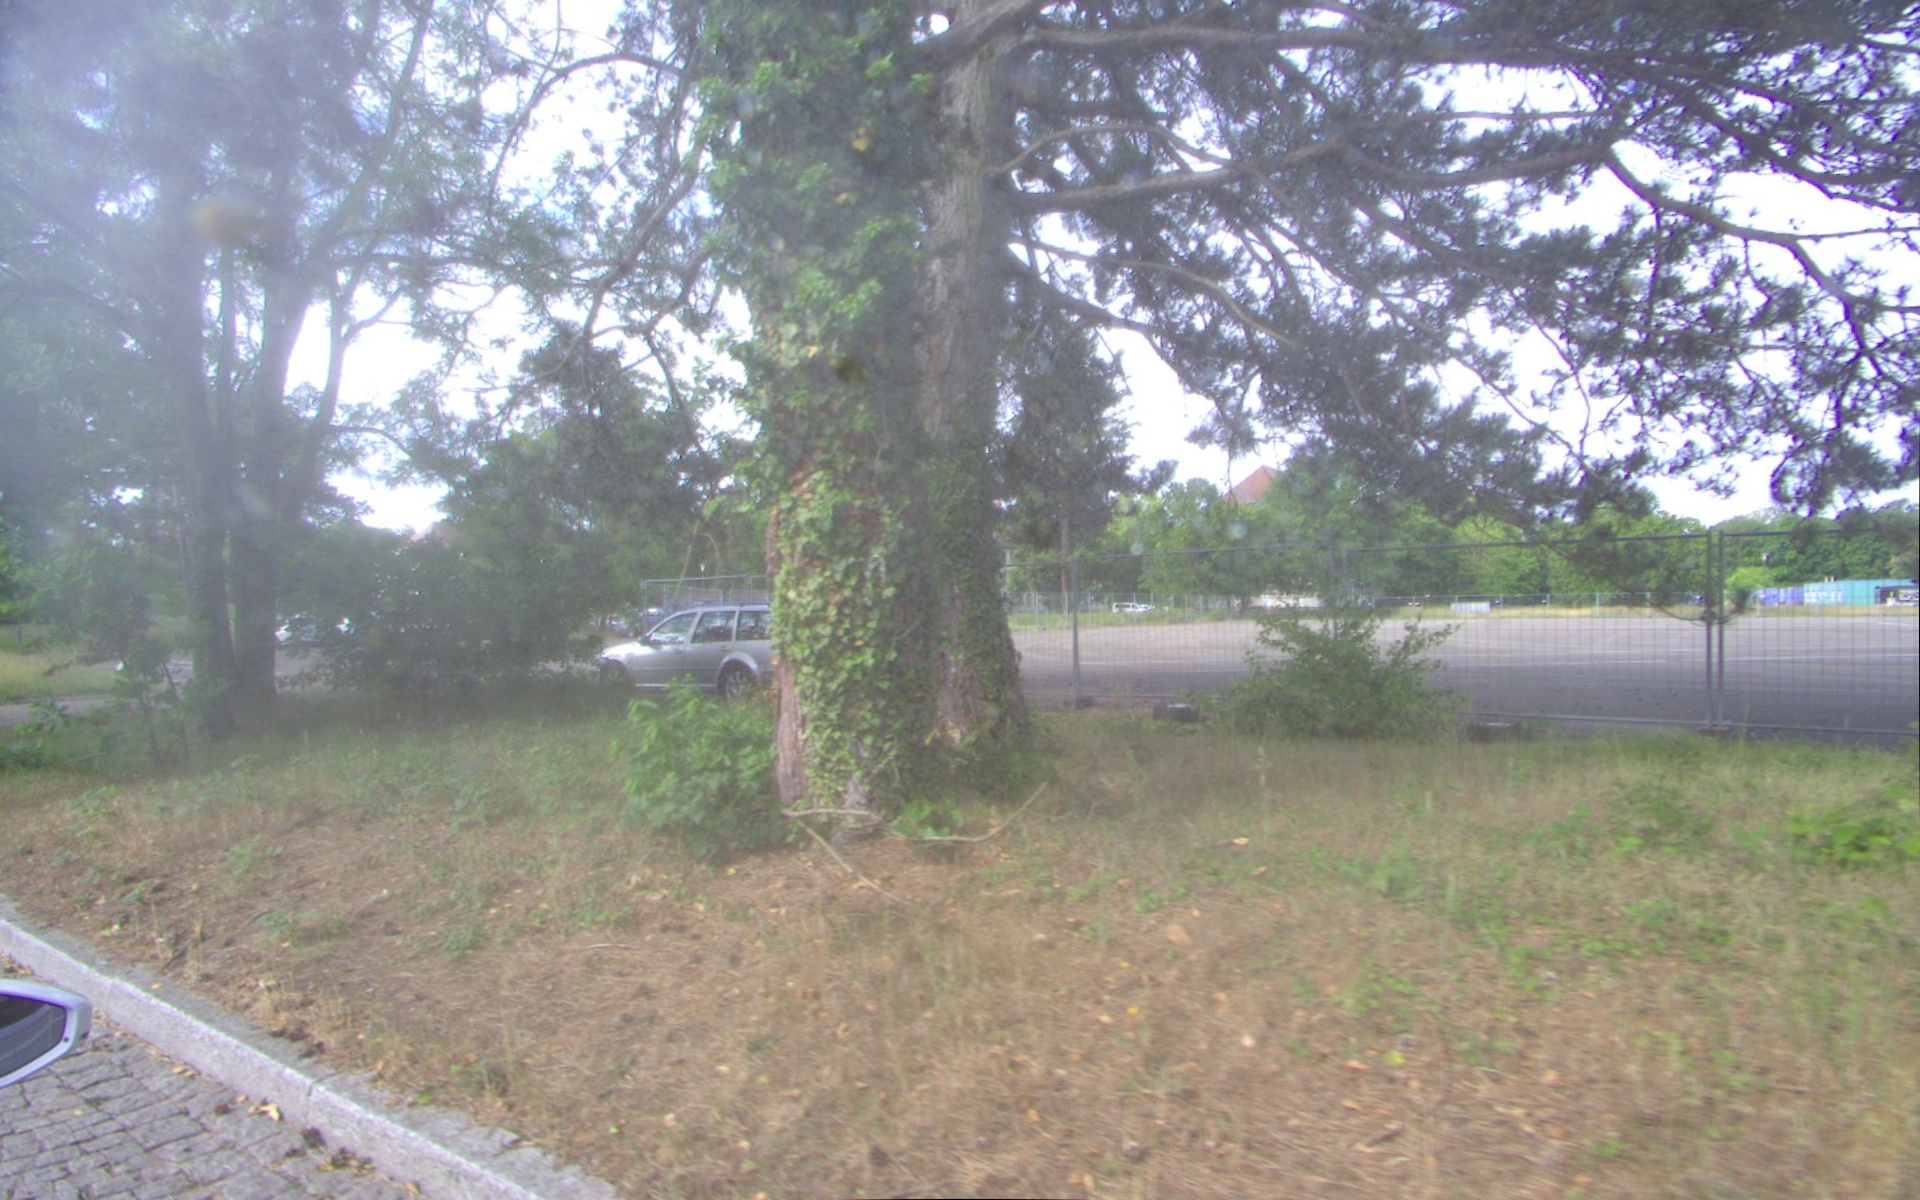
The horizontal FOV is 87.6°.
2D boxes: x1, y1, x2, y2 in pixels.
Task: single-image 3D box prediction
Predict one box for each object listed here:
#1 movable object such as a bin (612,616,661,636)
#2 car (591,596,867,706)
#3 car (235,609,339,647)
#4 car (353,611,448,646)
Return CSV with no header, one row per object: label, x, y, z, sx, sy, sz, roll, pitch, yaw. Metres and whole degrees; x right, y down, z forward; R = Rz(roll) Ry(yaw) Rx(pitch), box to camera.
movable object such as a bin,-14.378,1.159,44.538,1.928,0.836,1.181,-1,0,37
car,-3.490,0.743,14.939,4.014,1.444,1.644,-1,-3,31
car,-29.323,1.231,43.617,4.359,1.500,1.991,-3,-1,29
car,-26.967,1.371,48.258,4.359,1.500,1.991,-3,-1,29
